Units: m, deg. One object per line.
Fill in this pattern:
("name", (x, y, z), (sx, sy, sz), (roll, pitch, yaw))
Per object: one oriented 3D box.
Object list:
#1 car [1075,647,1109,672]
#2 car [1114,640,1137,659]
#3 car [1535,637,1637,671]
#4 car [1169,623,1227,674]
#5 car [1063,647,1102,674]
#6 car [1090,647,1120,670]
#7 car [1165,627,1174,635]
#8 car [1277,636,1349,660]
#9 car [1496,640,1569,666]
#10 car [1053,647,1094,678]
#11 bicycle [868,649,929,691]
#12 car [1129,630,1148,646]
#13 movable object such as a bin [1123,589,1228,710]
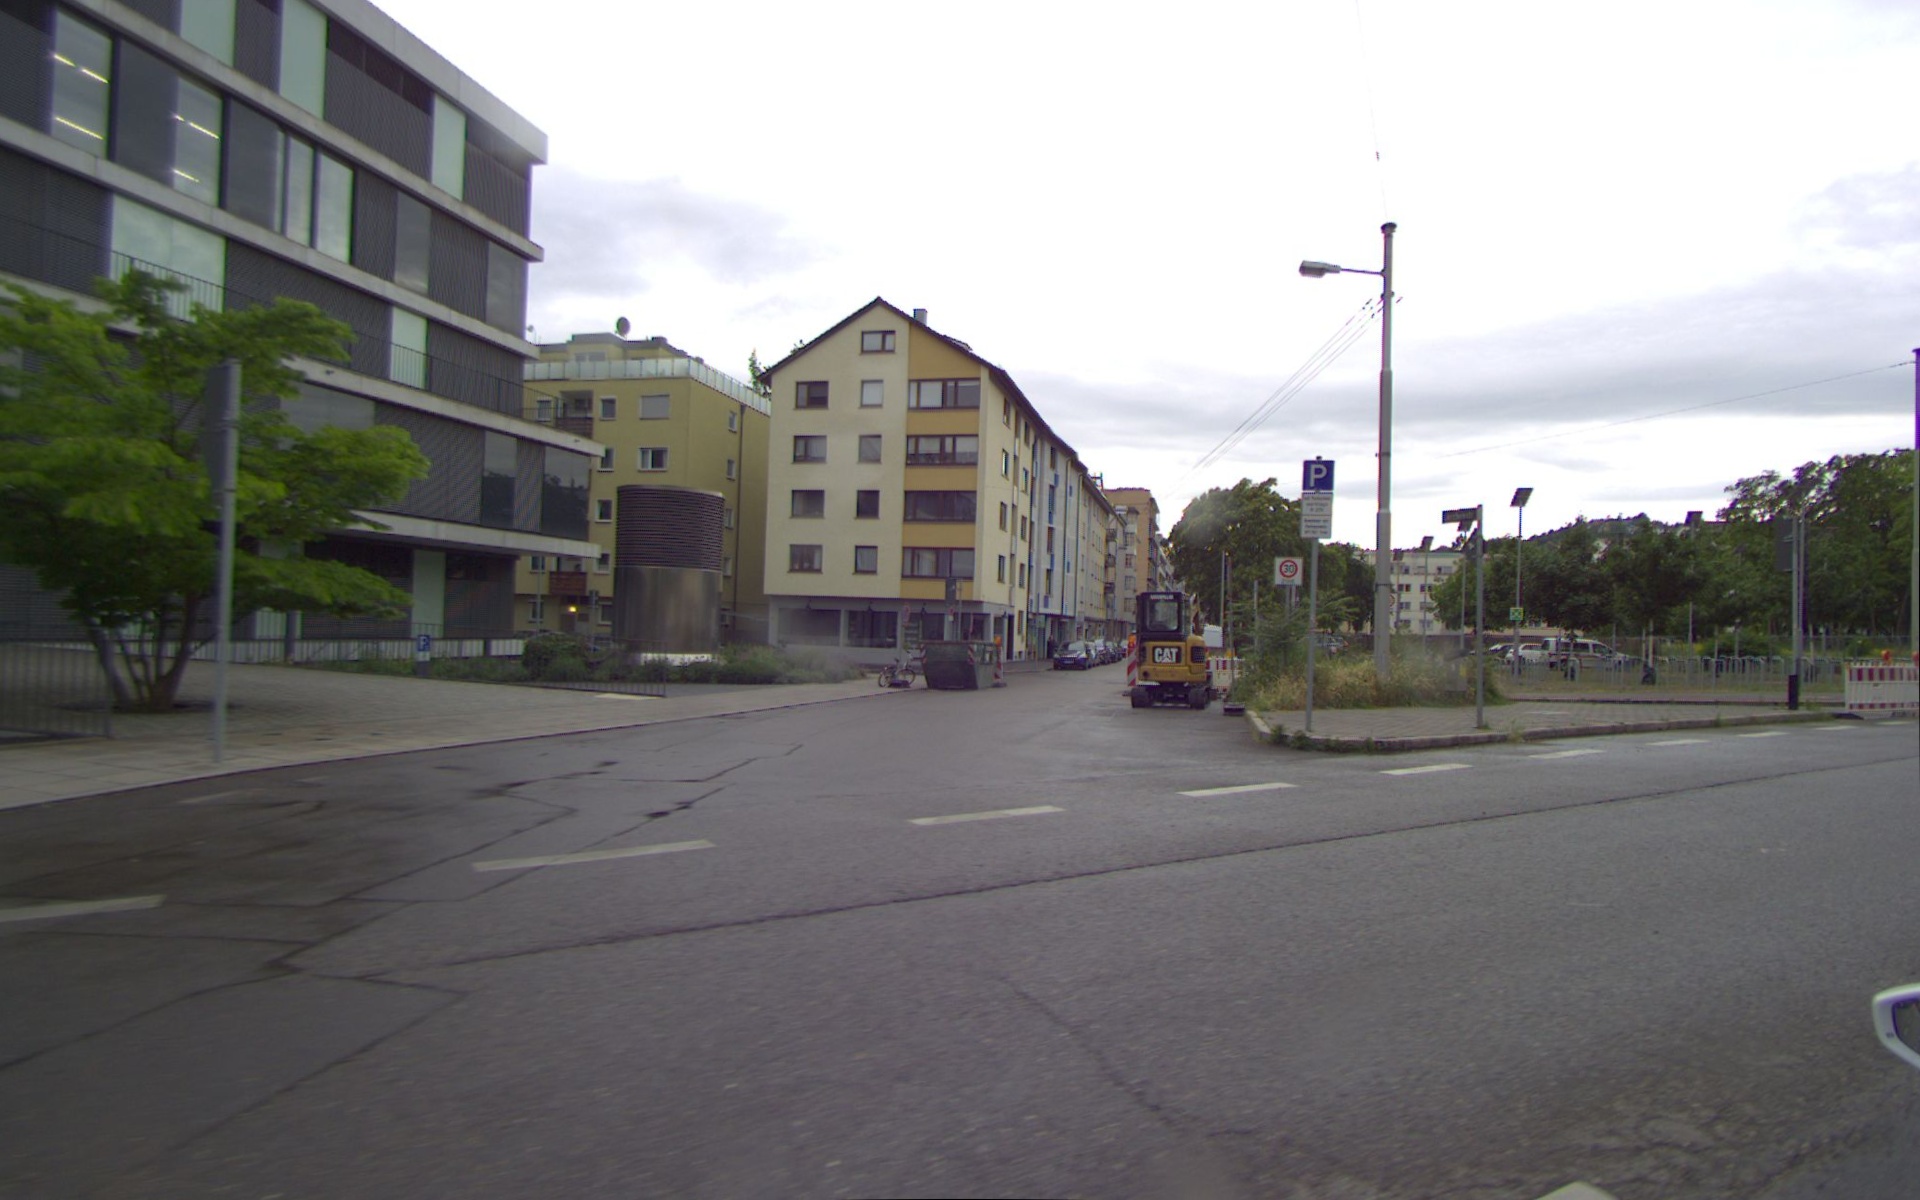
("car", (8.397, 3.733, 63.524), (1.764, 1.530, 4.003), (-1, -3, 12))
("car", (14.332, 4.280, 86.913), (1.764, 1.530, 4.003), (-1, -3, 12))
("car", (36.177, 3.119, 58.205), (4.597, 1.858, 2.002), (0, -2, 12))
("car", (12.091, 2.487, 51.468), (2.620, 2.444, 5.738), (-1, -3, 11))
("car", (7.193, 3.520, 58.604), (1.764, 1.530, 4.003), (-1, -3, 14))
("car", (9.916, 3.964, 68.543), (1.764, 1.530, 4.003), (-1, -3, 12))
("car", (43.302, 6.431, 207.793), (1.764, 1.530, 4.003), (-1, -3, 12))
("car", (25.728, 3.527, 73.327), (4.806, 1.646, 2.127), (0, -4, 15))
("car", (38.675, 3.566, 67.935), (3.919, 1.647, 1.801), (0, -2, 12))
("car", (6.024, 3.276, 52.942), (1.764, 1.530, 4.003), (-1, -3, 12))
("bicycle", (-1.881, 2.103, 30.608), (1.771, 1.122, 0.714), (3, 0, 37))
("car", (18.074, 3.859, 101.720), (1.764, 1.530, 4.003), (-1, -3, 12))
("movable object such as a bin", (5.203, 1.097, 23.740), (1.638, 2.492, 5.289), (1, -1, 20))
